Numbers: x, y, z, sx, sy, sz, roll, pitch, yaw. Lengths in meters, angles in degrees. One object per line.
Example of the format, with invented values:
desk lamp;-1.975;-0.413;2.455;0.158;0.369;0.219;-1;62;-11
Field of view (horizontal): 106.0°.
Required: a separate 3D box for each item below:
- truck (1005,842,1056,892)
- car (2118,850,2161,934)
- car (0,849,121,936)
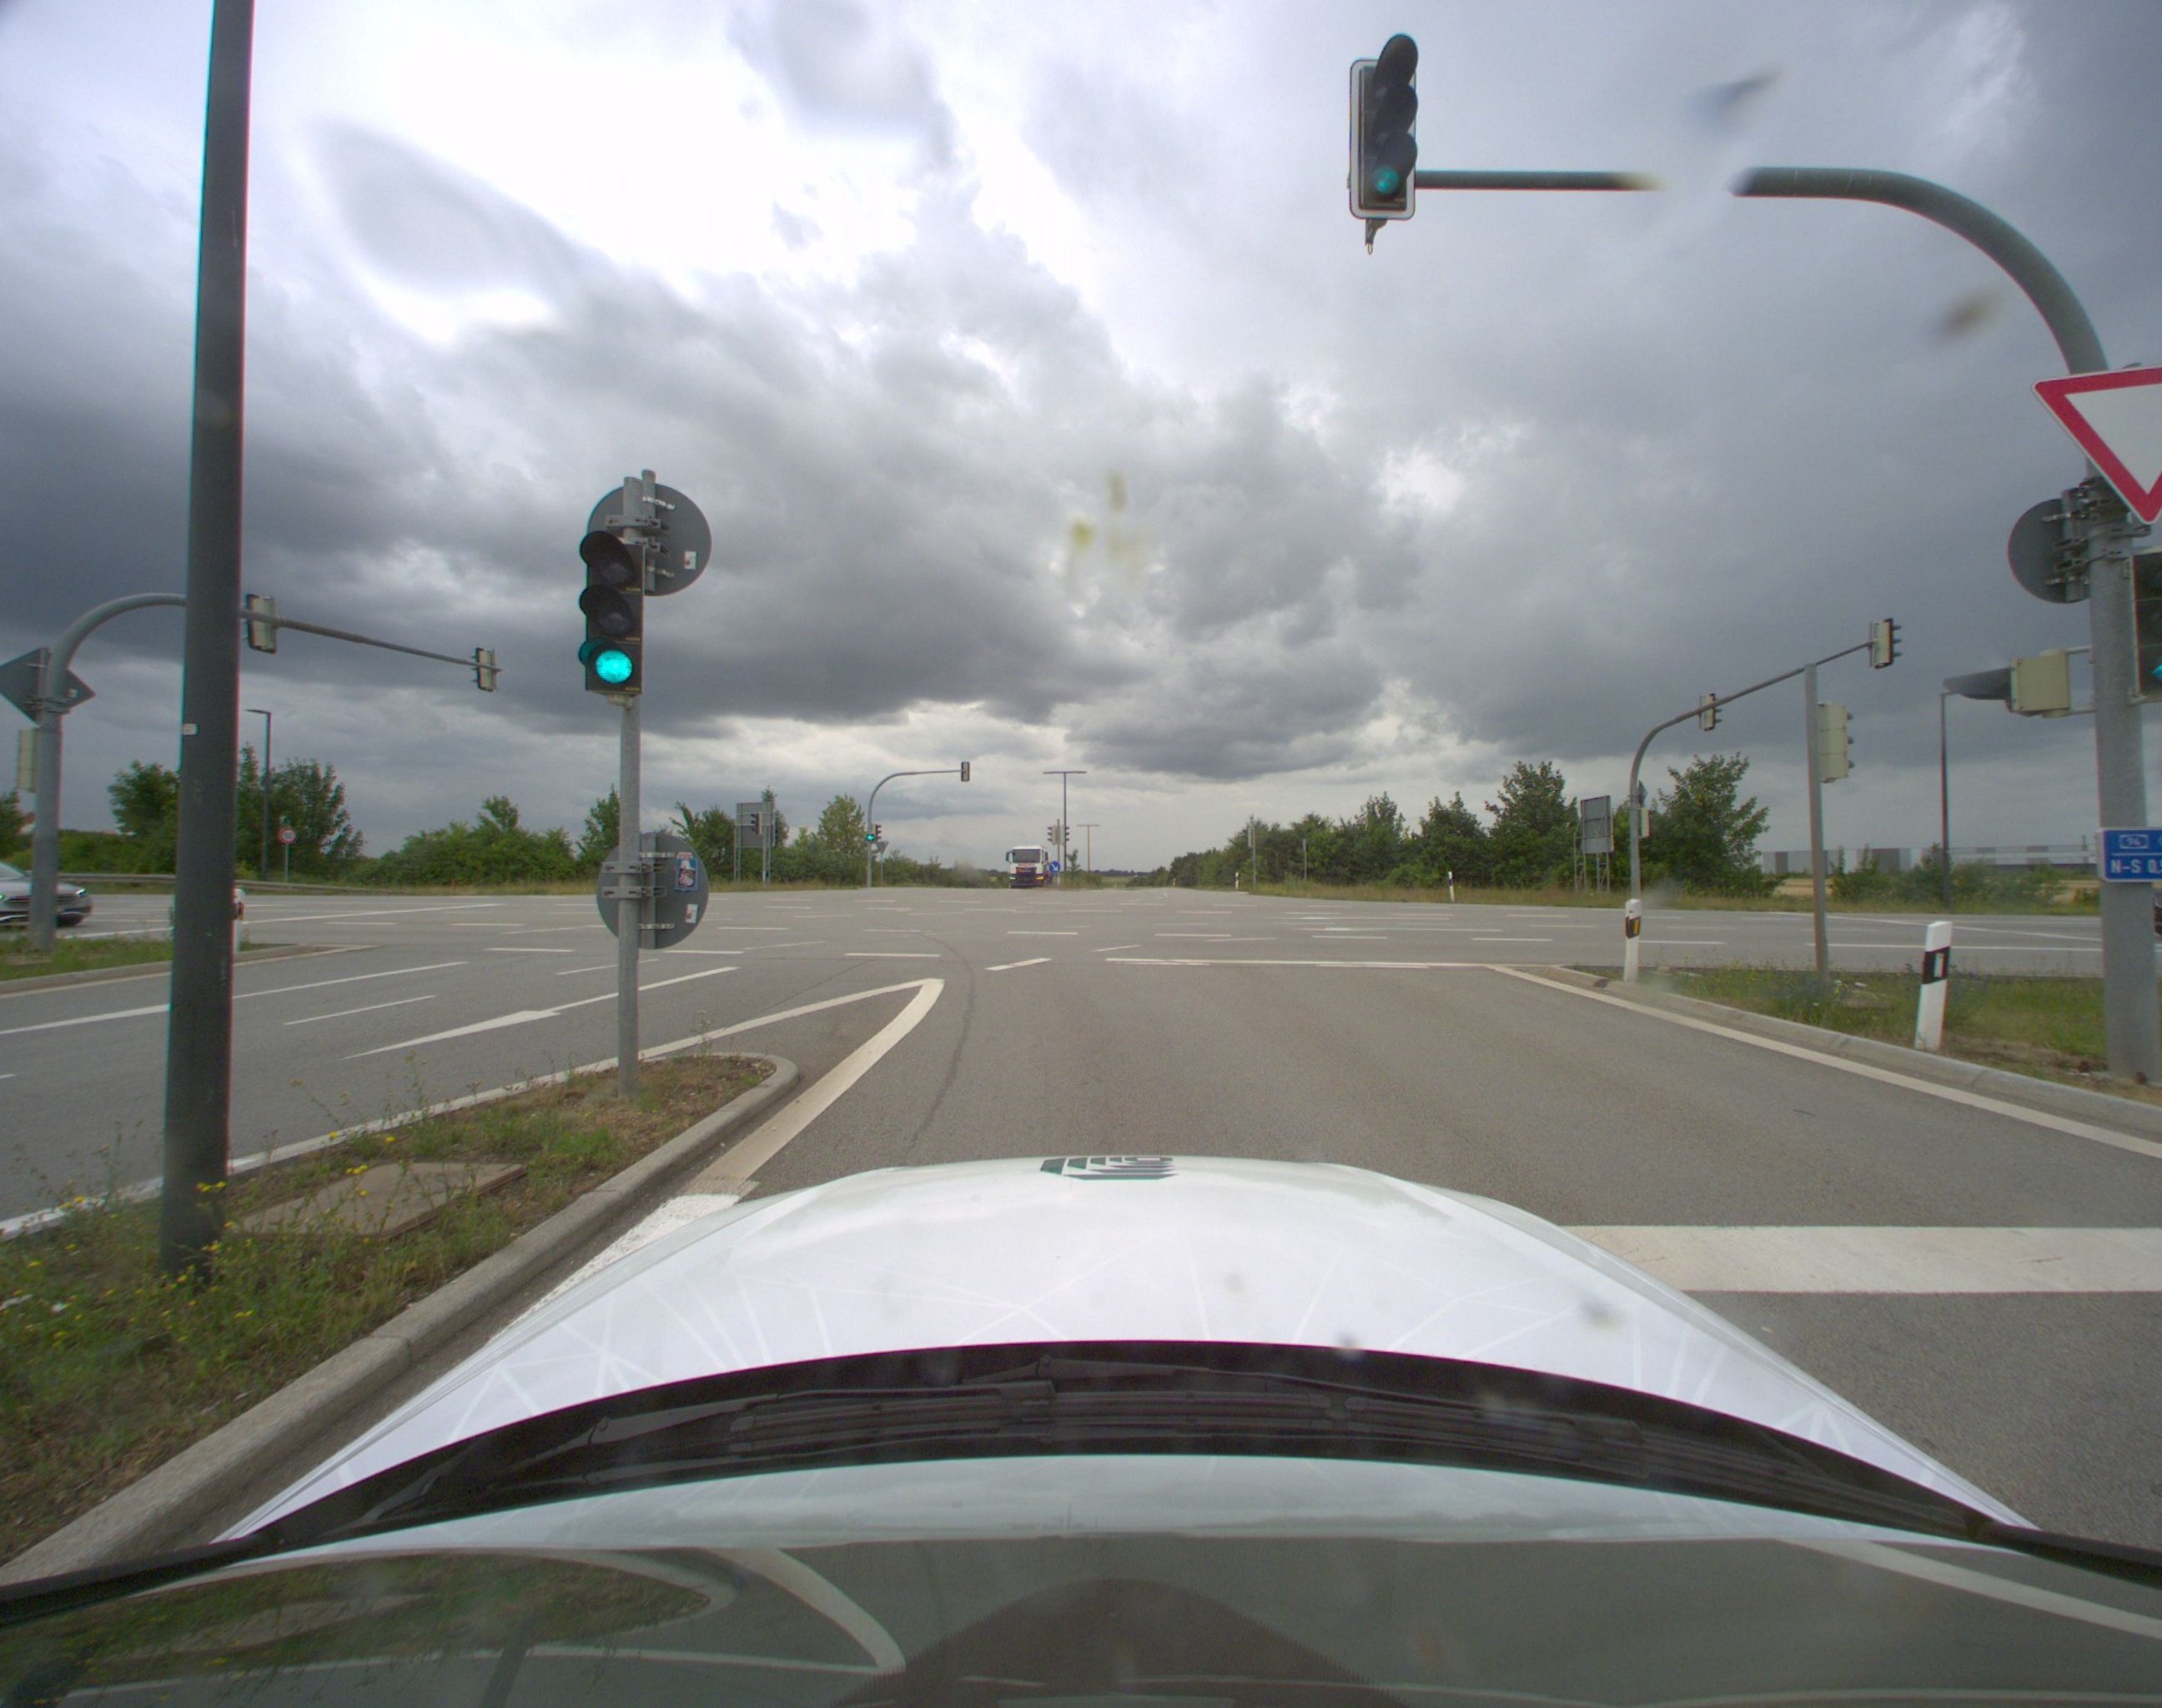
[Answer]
truck;-3.618;1.046;60.340;2.859;3.409;8.653;-1;-2;2
car;23.983;0.756;15.640;4.951;1.684;2.005;0;-1;10
car;-22.540;0.719;16.194;4.909;1.610;1.924;0;1;5
